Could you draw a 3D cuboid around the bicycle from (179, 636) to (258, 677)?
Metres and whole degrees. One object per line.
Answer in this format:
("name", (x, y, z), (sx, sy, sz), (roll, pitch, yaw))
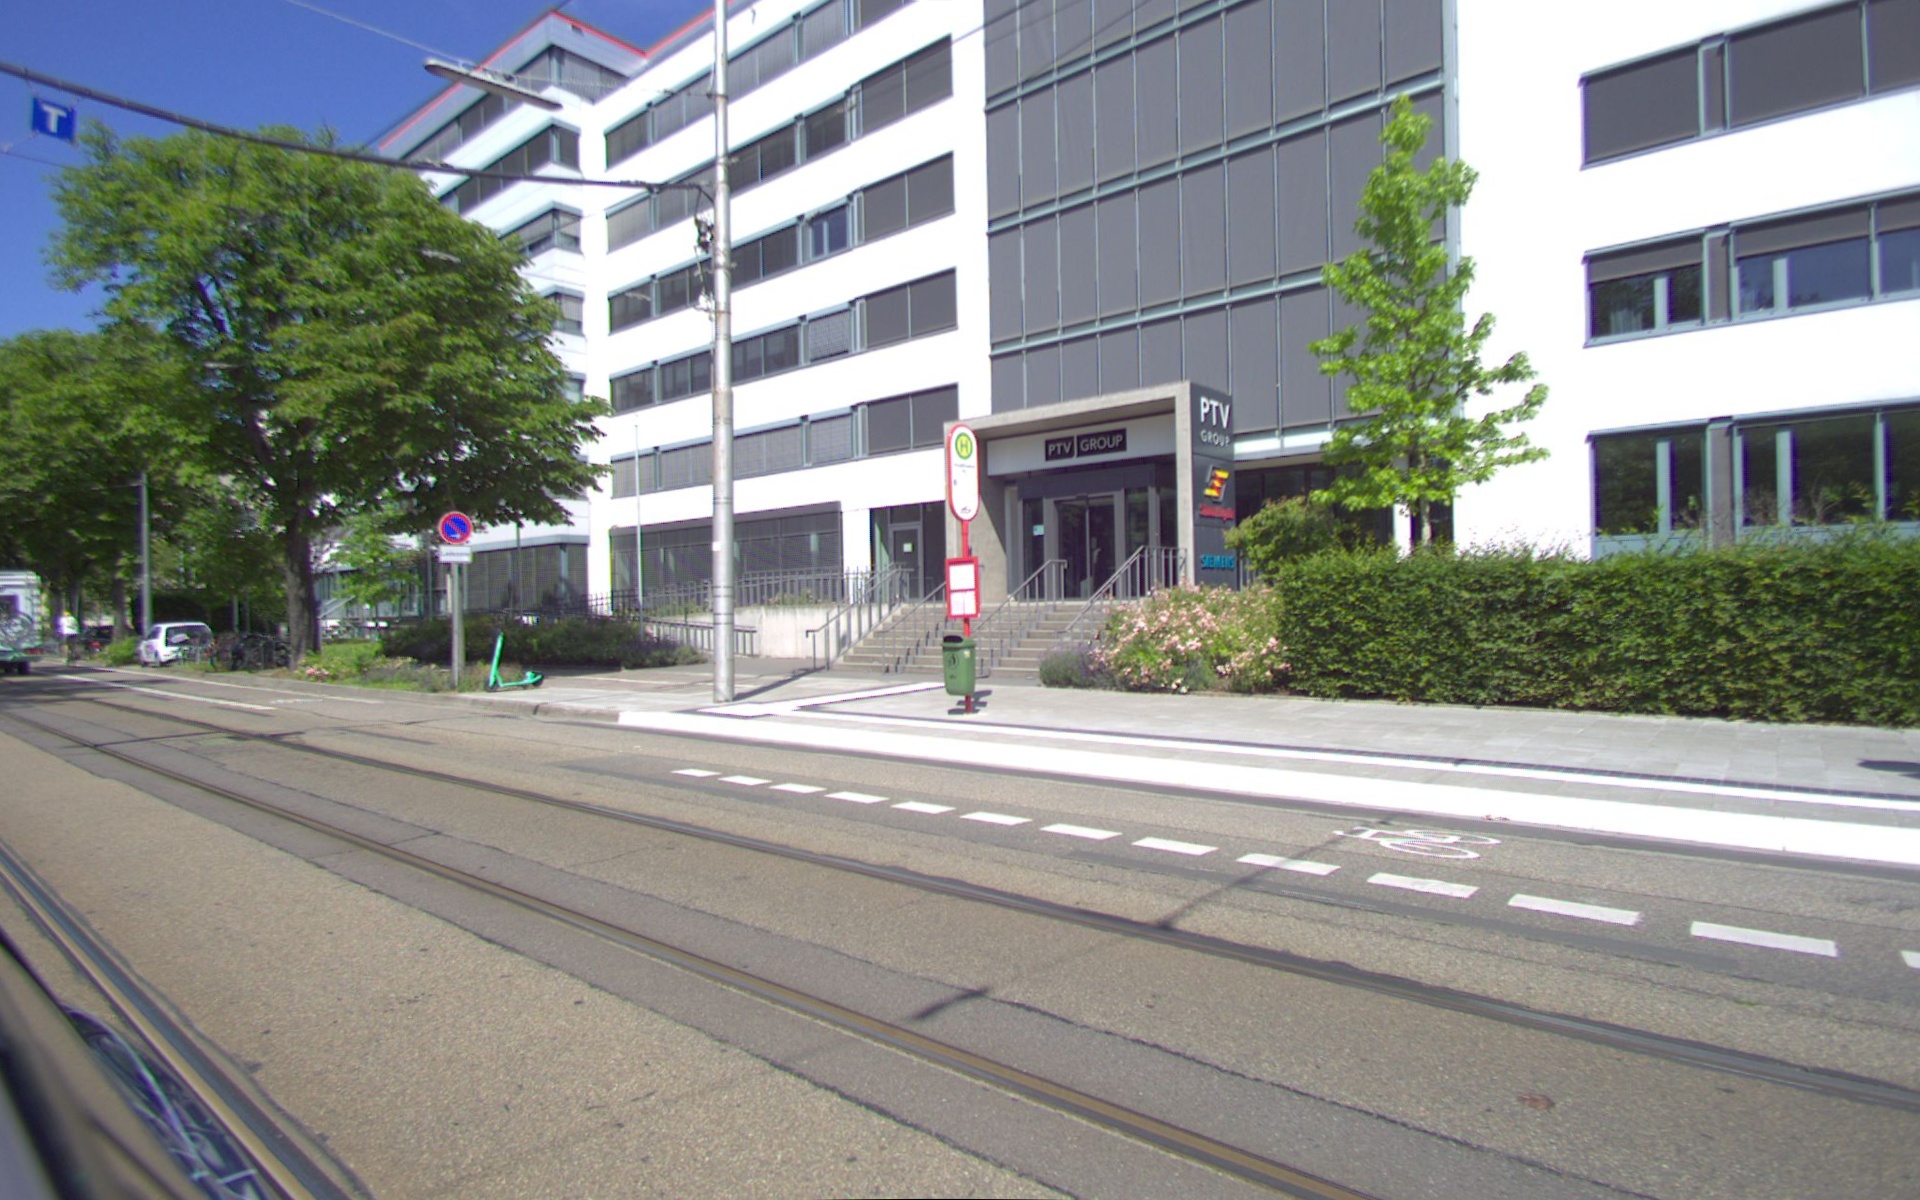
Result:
("bicycle", (-22.919, 1.732, 31.308), (0.685, 1.150, 1.854), (-2, -1, 40))

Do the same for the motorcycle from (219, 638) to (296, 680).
("motorcycle", (-20.201, 1.672, 29.116), (0.658, 1.094, 1.707), (-2, -1, 40))

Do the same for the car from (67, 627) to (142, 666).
("car", (-35.938, 1.933, 42.475), (4.268, 1.494, 1.614), (-2, -1, 39))

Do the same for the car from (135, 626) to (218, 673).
("car", (-26.713, 1.658, 34.465), (3.629, 1.483, 1.612), (-2, -1, 42))

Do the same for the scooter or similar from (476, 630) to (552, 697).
("scooter or similar", (-8.416, 1.183, 19.100), (0.676, 1.175, 1.113), (-2, -1, 43))

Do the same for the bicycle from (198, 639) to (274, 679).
("bicycle", (-21.375, 1.724, 29.892), (0.639, 1.094, 1.707), (-2, -1, 40))

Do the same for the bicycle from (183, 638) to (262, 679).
("bicycle", (-22.436, 1.763, 30.827), (0.680, 1.140, 1.830), (-2, -1, 40))

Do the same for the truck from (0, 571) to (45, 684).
("truck", (-28.972, 0.847, 29.726), (6.033, 3.132, 2.378), (-2, -1, 41))

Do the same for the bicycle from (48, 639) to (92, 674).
("bicycle", (-30.690, 1.930, 34.872), (2.138, 1.118, 0.847), (-2, -1, 40))

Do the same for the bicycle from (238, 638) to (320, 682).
("bicycle", (-18.567, 1.628, 27.625), (0.789, 1.094, 1.707), (-2, -1, 40))

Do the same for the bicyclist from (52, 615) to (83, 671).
("bicyclist", (-30.810, 1.469, 34.941), (1.023, 1.885, 0.629), (-2, -1, 40))

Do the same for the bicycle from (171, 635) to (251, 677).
("bicycle", (-23.440, 1.730, 31.693), (0.818, 1.178, 1.885), (-2, -1, 40))

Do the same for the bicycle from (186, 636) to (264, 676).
("bicycle", (-22.079, 1.677, 30.433), (0.726, 1.094, 1.774), (-2, -1, 40))
